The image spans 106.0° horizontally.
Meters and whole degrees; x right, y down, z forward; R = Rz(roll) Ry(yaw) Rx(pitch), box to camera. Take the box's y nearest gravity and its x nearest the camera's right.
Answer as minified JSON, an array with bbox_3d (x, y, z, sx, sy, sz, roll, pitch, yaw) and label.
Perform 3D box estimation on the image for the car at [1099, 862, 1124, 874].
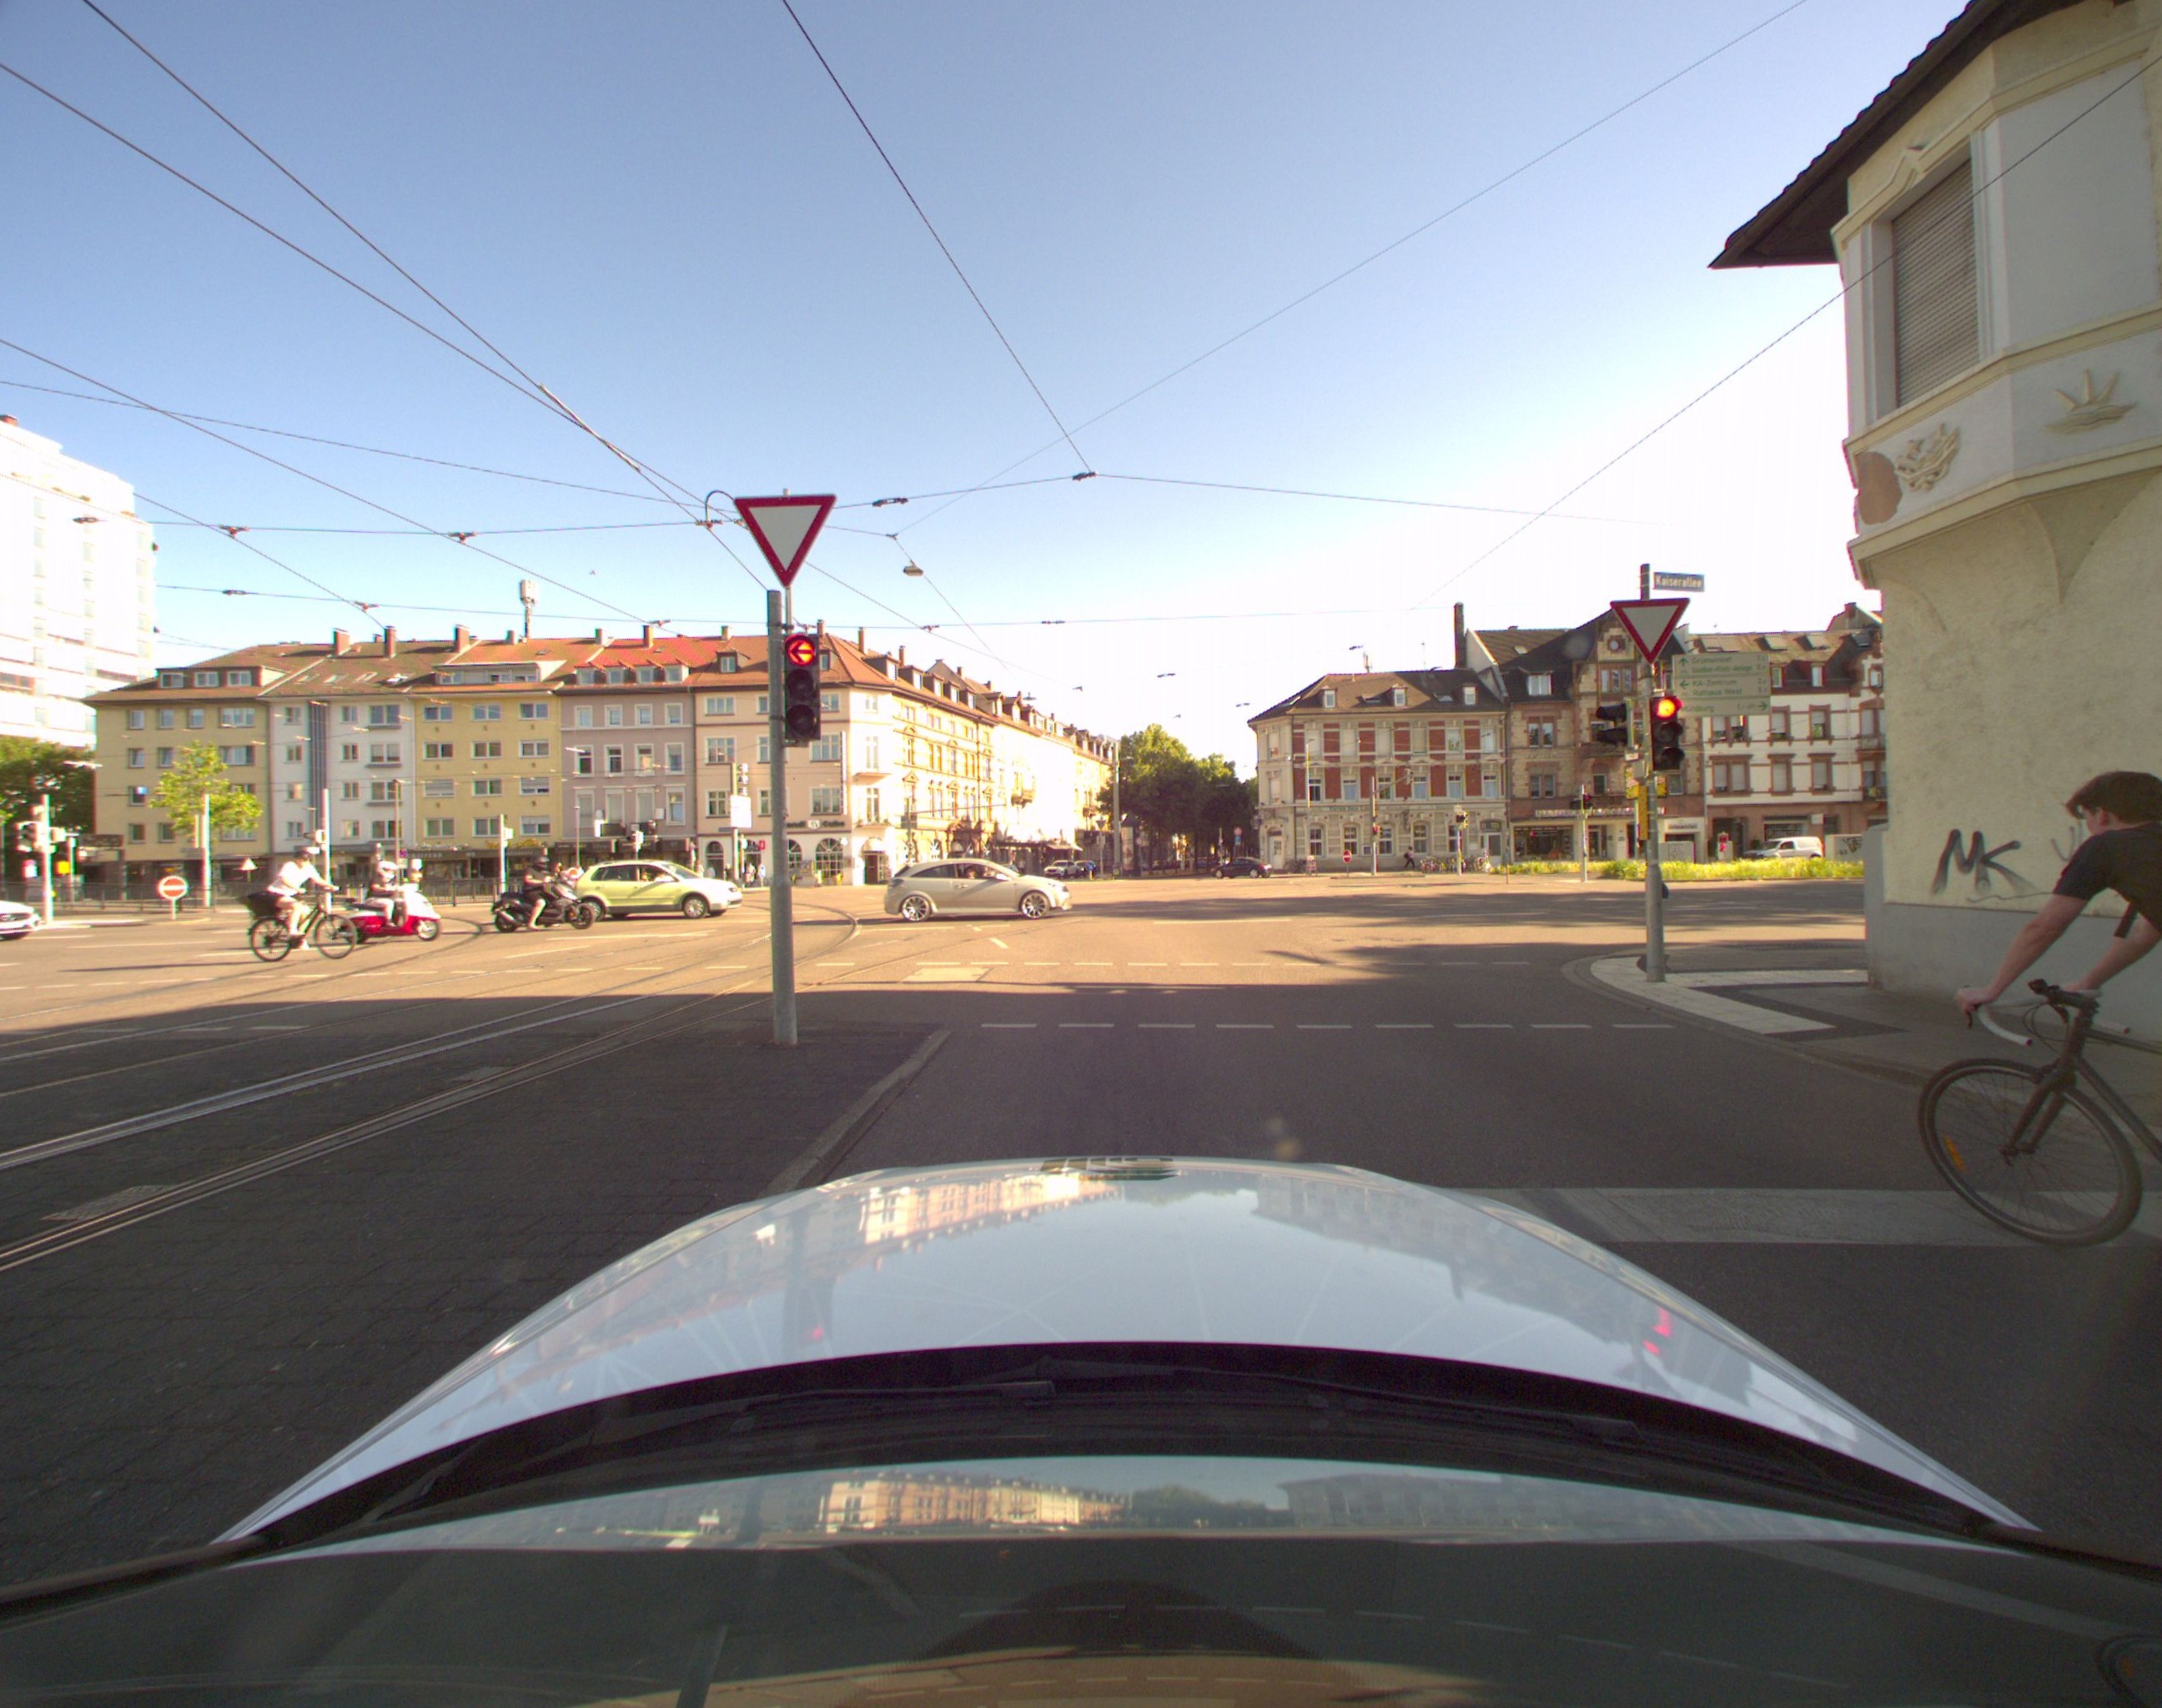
[{"bbox_3d":[3.832,1.710,102.171,1.977,1.404,4.189,-1,0,18],"label":"car"}]

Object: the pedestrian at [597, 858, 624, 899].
[{"bbox_3d":[-21.441,1.113,37.094,0.764,1.829,0.723,-1,0,1],"label":"pedestrian"}]

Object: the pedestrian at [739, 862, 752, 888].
[{"bbox_3d":[-21.774,1.340,52.843,0.744,1.682,0.623,-1,0,-23],"label":"pedestrian"}]

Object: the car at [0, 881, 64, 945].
[{"bbox_3d":[-27.909,1.486,19.523,4.658,1.473,1.740,-2,0,-2],"label":"car"}]

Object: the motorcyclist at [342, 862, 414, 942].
[{"bbox_3d":[-13.686,0.916,15.877,0.814,1.507,0.657,-1,0,-10],"label":"motorcyclist"}]

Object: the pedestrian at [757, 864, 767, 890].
[{"bbox_3d":[-15.776,1.133,40.255,0.364,1.253,0.449,-1,0,-10],"label":"pedestrian"}]

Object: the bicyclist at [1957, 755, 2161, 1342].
[{"bbox_3d":[3.560,0.580,2.496,0.649,1.767,0.995,-1,0,2],"label":"bicyclist"}]

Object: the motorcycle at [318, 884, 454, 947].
[{"bbox_3d":[-13.519,1.183,15.873,2.025,1.118,0.503,-1,0,-10],"label":"motorcycle"}]

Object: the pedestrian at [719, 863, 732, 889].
[{"bbox_3d":[-23.074,1.406,52.927,0.744,1.682,0.623,-1,0,-23],"label":"pedestrian"}]

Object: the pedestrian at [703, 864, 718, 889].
[{"bbox_3d":[-26.322,1.589,57.861,0.740,1.682,0.626,-1,0,-10],"label":"pedestrian"}]

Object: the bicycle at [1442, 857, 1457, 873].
[{"bbox_3d":[23.855,0.687,52.752,0.483,1.020,1.789,-1,0,12],"label":"bicycle"}]

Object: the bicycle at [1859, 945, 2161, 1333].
[{"bbox_3d":[3.562,0.923,2.498,0.568,1.058,1.890,-1,0,2],"label":"bicycle"}]

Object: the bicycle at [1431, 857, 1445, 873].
[{"bbox_3d":[23.160,0.725,52.871,0.483,1.020,1.789,-1,0,12],"label":"bicycle"}]

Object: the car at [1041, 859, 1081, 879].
[{"bbox_3d":[-1.604,1.217,67.670,1.977,1.516,4.189,-1,0,18],"label":"car"}]

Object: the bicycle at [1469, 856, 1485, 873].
[{"bbox_3d":[25.630,0.674,52.759,0.483,1.020,1.789,-1,0,12],"label":"bicycle"}]

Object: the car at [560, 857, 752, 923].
[{"bbox_3d":[-10.758,0.875,20.848,3.949,1.498,1.738,-1,0,-6],"label":"car"}]

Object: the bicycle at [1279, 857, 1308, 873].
[{"bbox_3d":[14.914,0.752,57.136,1.940,1.054,0.717,-1,0,11],"label":"bicycle"}]

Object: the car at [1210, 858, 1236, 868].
[{"bbox_3d":[19.380,1.214,111.186,3.409,1.239,1.582,-1,0,13],"label":"car"}]

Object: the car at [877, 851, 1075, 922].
[{"bbox_3d":[-2.329,0.713,18.653,4.262,1.441,1.738,-1,-1,-6],"label":"car"}]

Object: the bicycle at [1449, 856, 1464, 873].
[{"bbox_3d":[24.315,0.684,52.802,0.483,1.020,1.789,-1,0,12],"label":"bicycle"}]

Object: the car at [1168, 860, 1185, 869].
[{"bbox_3d":[16.029,1.736,136.415,1.977,1.404,4.189,-1,0,18],"label":"car"}]

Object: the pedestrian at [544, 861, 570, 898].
[{"bbox_3d":[-23.453,1.138,36.463,0.738,1.635,0.572,-1,0,1],"label":"pedestrian"}]

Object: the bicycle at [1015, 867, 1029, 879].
[{"bbox_3d":[-4.762,1.530,65.564,0.650,1.000,1.671,-1,-1,14],"label":"bicycle"}]

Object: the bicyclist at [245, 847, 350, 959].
[{"bbox_3d":[-12.539,0.762,13.059,0.937,1.713,0.732,-1,0,-6],"label":"bicyclist"}]

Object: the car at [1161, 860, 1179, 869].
[{"bbox_3d":[14.329,1.707,131.256,1.977,1.404,4.189,-1,0,18],"label":"car"}]

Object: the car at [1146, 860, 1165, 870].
[{"bbox_3d":[11.199,1.687,122.497,1.977,1.404,4.189,-1,0,18],"label":"car"}]

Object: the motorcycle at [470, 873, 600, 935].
[{"bbox_3d":[-11.779,1.060,17.630,2.205,1.228,0.692,-1,0,-10],"label":"motorcycle"}]

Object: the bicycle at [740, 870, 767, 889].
[{"bbox_3d":[-23.167,1.807,57.612,1.714,1.276,0.385,-1,0,-16],"label":"bicycle"}]

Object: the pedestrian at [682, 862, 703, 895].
[{"bbox_3d":[-20.103,1.272,42.194,0.738,1.682,0.628,-1,0,1],"label":"pedestrian"}]

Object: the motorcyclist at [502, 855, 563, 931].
[{"bbox_3d":[-11.897,0.828,17.684,0.832,1.620,0.814,0,-1,-10],"label":"motorcyclist"}]

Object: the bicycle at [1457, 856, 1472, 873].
[{"bbox_3d":[24.818,0.680,52.711,0.483,1.020,1.789,-1,0,12],"label":"bicycle"}]

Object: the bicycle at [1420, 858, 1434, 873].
[{"bbox_3d":[22.483,0.735,52.974,0.483,0.914,1.789,-1,0,12],"label":"bicycle"}]

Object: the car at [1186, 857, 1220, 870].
[{"bbox_3d":[14.962,1.155,99.503,3.959,1.454,1.687,-1,0,13],"label":"car"}]

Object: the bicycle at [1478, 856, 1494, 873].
[{"bbox_3d":[26.334,0.671,52.914,0.483,1.020,1.789,-1,0,12],"label":"bicycle"}]

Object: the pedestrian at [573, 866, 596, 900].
[{"bbox_3d":[-23.684,1.362,38.874,0.696,1.581,0.560,-1,0,2],"label":"pedestrian"}]

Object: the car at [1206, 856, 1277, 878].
[{"bbox_3d":[10.074,0.801,51.183,4.020,1.300,1.734,-1,0,34],"label":"car"}]

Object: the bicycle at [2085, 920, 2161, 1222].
[{"bbox_3d":[4.505,0.862,2.484,0.568,1.165,1.890,-1,0,2],"label":"bicycle"}]

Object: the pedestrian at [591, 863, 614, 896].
[{"bbox_3d":[-24.904,1.304,42.374,0.764,1.682,0.628,-1,0,1],"label":"pedestrian"}]

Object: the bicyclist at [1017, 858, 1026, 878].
[{"bbox_3d":[-4.767,1.092,65.466,0.486,1.601,0.668,-1,0,12],"label":"bicyclist"}]

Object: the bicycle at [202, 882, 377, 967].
[{"bbox_3d":[-12.507,1.093,12.918,1.920,1.223,0.741,-1,0,-6],"label":"bicycle"}]

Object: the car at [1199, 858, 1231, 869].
[{"bbox_3d":[17.336,1.225,105.157,3.959,1.288,1.700,-1,0,13],"label":"car"}]

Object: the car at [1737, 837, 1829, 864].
[{"bbox_3d":[45.292,-0.238,52.598,4.239,1.622,1.999,-1,0,-1],"label":"car"}]

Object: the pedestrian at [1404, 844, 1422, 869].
[{"bbox_3d":[23.028,0.198,56.546,1.029,1.712,0.631,-1,-1,10],"label":"pedestrian"}]

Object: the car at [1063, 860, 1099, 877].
[{"bbox_3d":[0.031,1.310,73.802,1.977,1.404,4.189,-1,0,18],"label":"car"}]

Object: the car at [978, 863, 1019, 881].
[{"bbox_3d":[-6.758,1.475,67.358,1.977,1.361,3.836,-1,0,18],"label":"car"}]
